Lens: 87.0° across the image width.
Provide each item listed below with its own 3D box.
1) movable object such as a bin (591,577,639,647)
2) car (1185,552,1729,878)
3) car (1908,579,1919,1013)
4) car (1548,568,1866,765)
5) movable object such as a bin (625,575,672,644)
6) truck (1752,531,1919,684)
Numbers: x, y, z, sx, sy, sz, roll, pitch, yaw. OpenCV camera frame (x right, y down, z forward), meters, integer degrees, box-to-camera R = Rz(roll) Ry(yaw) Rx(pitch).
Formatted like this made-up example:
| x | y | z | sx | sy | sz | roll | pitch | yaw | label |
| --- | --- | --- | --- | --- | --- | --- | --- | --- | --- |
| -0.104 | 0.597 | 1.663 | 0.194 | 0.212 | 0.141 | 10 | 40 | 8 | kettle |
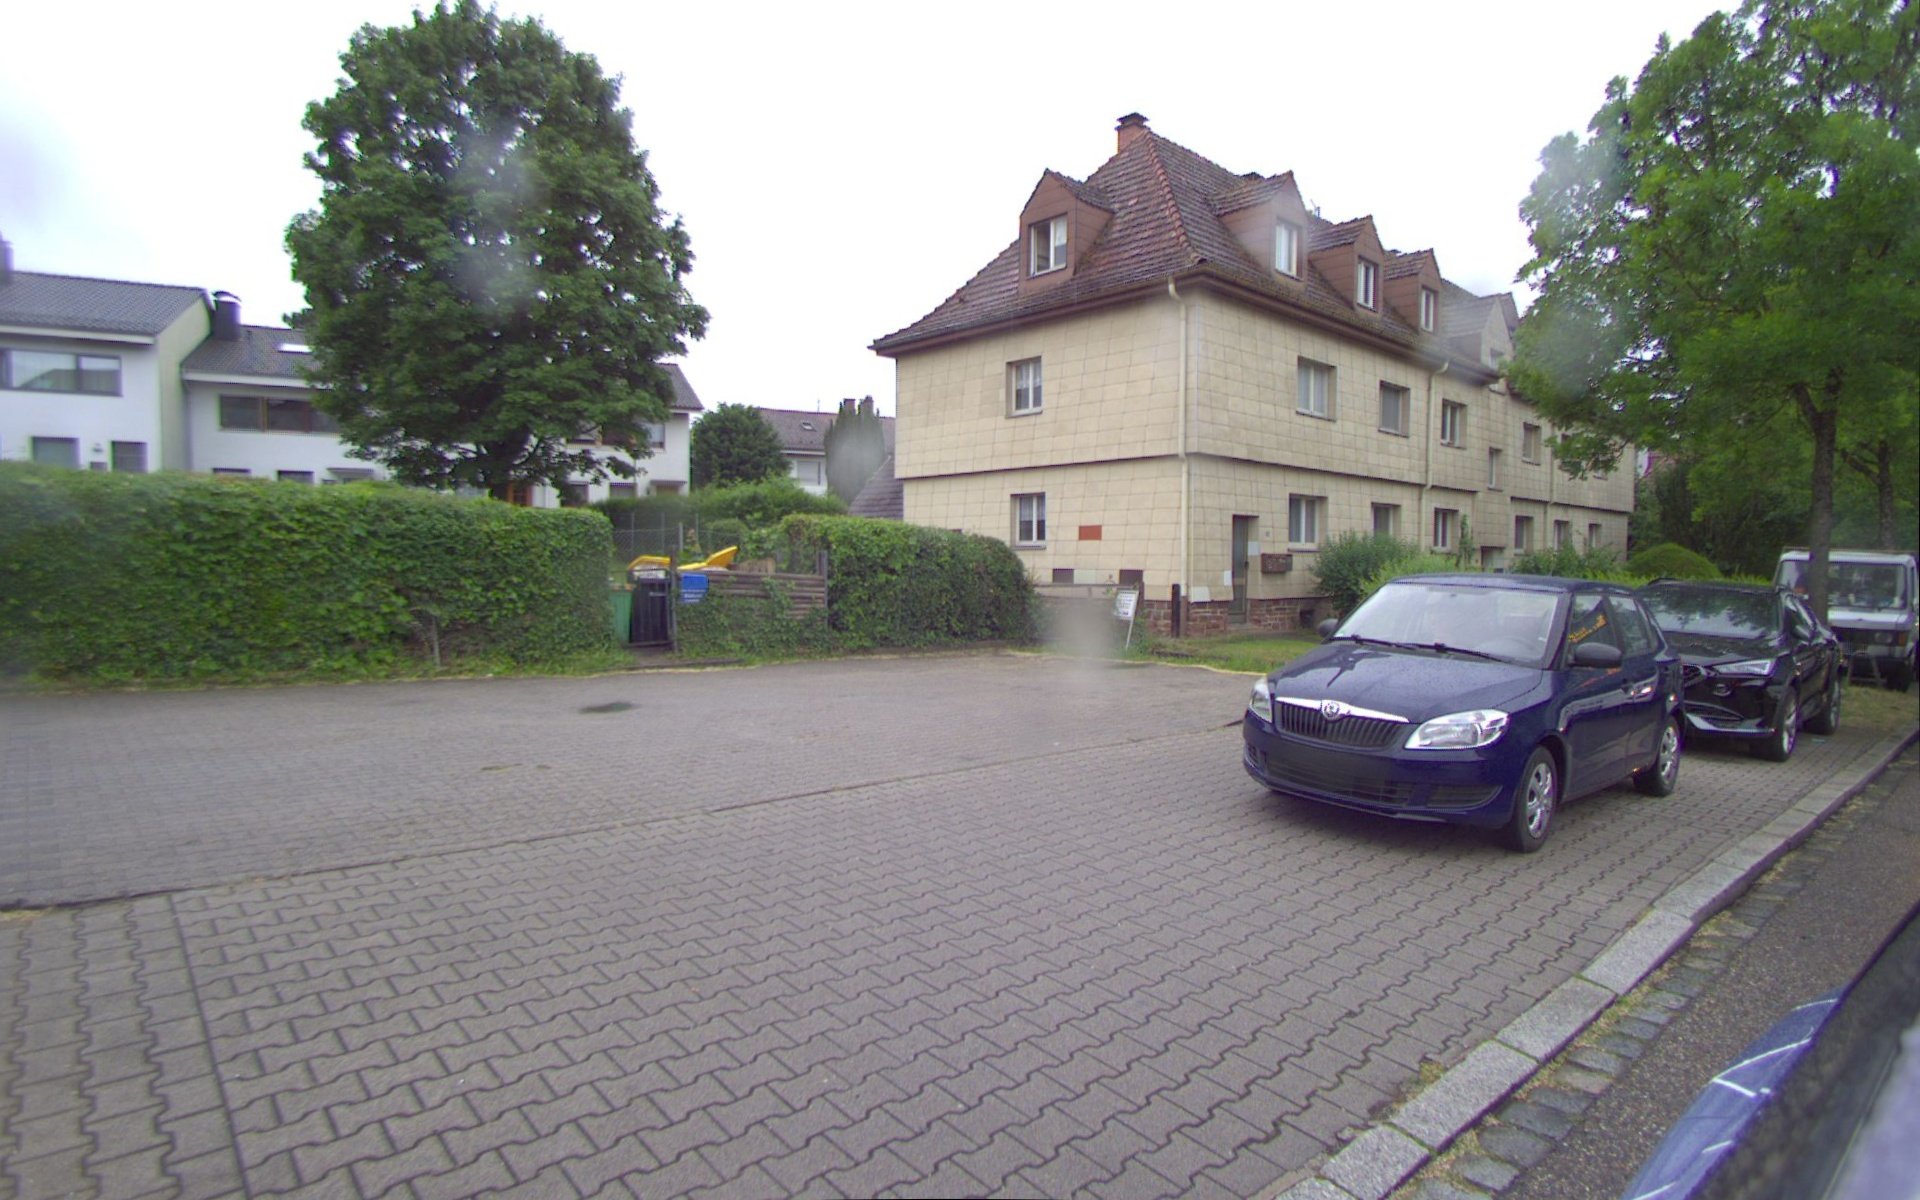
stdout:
| x | y | z | sx | sy | sz | roll | pitch | yaw | label |
| --- | --- | --- | --- | --- | --- | --- | --- | --- | --- |
| -4.811 | 0.155 | 14.095 | 0.441 | 0.954 | 0.539 | 0 | 0 | -45 | movable object such as a bin |
| 3.383 | 0.479 | 6.558 | 3.930 | 1.441 | 1.719 | -1 | 4 | -41 | car |
| 5.620 | 0.688 | 4.300 | 4.240 | 1.548 | 1.881 | 0 | -1 | -41 | car |
| 7.436 | 0.486 | 9.934 | 3.932 | 1.481 | 1.719 | -1 | 4 | -42 | car |
| -4.455 | 0.132 | 14.459 | 0.441 | 0.954 | 0.539 | 0 | 0 | -45 | movable object such as a bin |
| 15.509 | 0.074 | 17.246 | 5.653 | 2.224 | 1.998 | 0 | 2 | -40 | truck |
